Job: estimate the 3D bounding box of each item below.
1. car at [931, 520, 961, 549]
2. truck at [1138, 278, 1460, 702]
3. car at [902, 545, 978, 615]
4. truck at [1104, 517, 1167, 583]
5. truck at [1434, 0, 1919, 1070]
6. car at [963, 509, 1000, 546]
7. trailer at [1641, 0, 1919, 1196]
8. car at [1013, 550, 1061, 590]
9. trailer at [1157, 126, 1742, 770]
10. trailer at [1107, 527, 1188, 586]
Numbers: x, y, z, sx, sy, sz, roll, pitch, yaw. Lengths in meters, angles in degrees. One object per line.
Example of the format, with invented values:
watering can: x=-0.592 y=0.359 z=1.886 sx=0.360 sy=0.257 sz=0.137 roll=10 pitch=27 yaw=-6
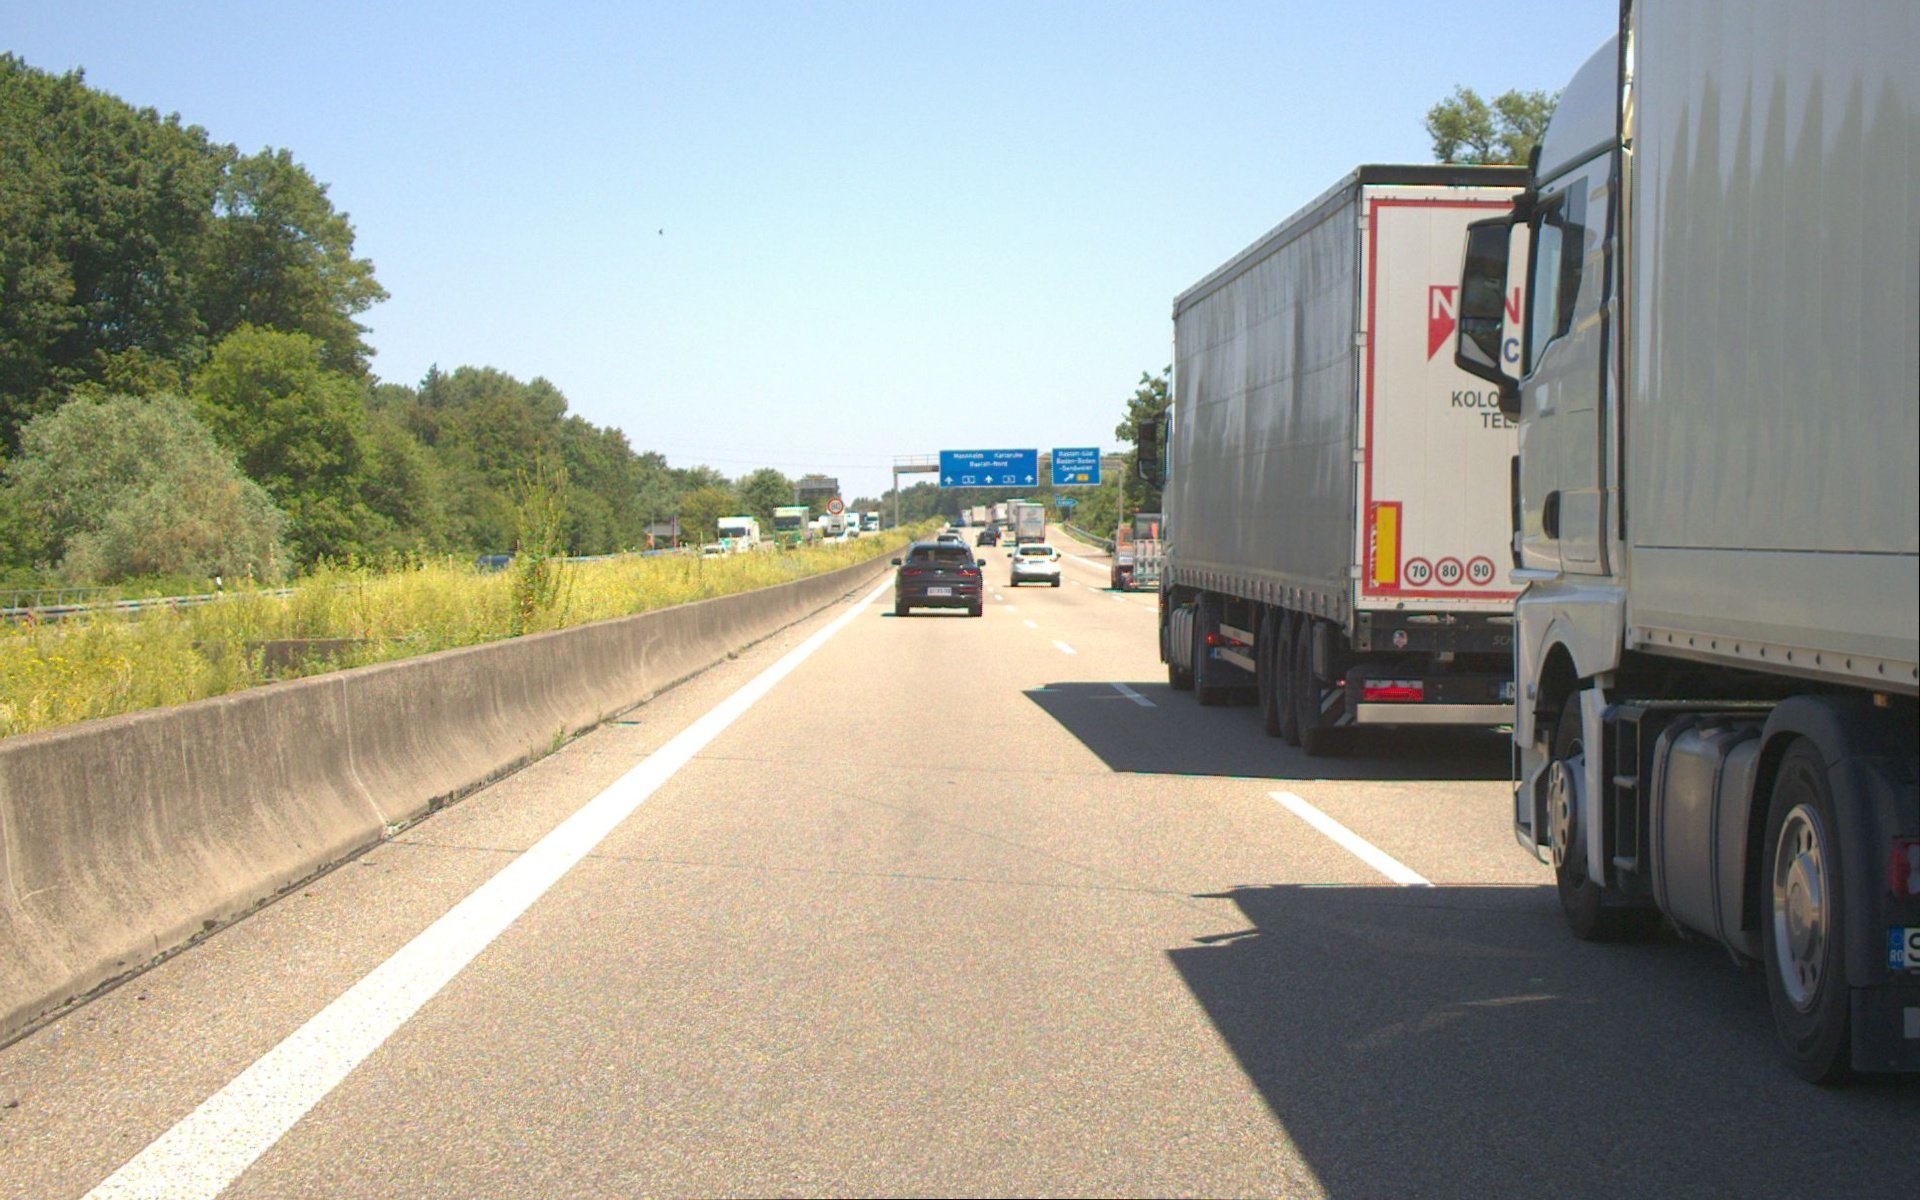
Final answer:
car: x=-0.989 y=-4.551 z=239.302 sx=1.993 sy=2.007 sz=4.000 roll=-1 pitch=1 yaw=0
truck: x=3.449 y=-1.092 z=36.517 sx=2.700 sy=4.080 sz=6.453 roll=1 pitch=0 yaw=0
car: x=-0.475 y=-0.484 z=79.320 sx=1.660 sy=1.544 sz=3.783 roll=0 pitch=1 yaw=-1
truck: x=6.466 y=-1.879 z=127.181 sx=1.993 sy=2.365 sz=4.645 roll=0 pitch=1 yaw=-1
truck: x=3.621 y=-0.678 z=12.949 sx=2.800 sy=3.993 sz=6.021 roll=0 pitch=1 yaw=0
car: x=1.213 y=-4.020 z=191.756 sx=1.993 sy=2.007 sz=4.000 roll=-1 pitch=1 yaw=0
trailer: x=3.676 y=-0.560 z=4.893 sx=2.795 sy=4.021 sz=12.568 roll=0 pitch=1 yaw=0
car: x=2.932 y=-1.165 z=132.114 sx=1.740 sy=1.481 sz=4.000 roll=0 pitch=1 yaw=0
trailer: x=3.523 y=-1.018 z=29.157 sx=2.707 sy=4.054 sz=14.746 roll=1 pitch=0 yaw=0
trailer: x=6.607 y=-1.580 z=121.812 sx=2.420 sy=2.007 sz=6.034 roll=0 pitch=1 yaw=-1
